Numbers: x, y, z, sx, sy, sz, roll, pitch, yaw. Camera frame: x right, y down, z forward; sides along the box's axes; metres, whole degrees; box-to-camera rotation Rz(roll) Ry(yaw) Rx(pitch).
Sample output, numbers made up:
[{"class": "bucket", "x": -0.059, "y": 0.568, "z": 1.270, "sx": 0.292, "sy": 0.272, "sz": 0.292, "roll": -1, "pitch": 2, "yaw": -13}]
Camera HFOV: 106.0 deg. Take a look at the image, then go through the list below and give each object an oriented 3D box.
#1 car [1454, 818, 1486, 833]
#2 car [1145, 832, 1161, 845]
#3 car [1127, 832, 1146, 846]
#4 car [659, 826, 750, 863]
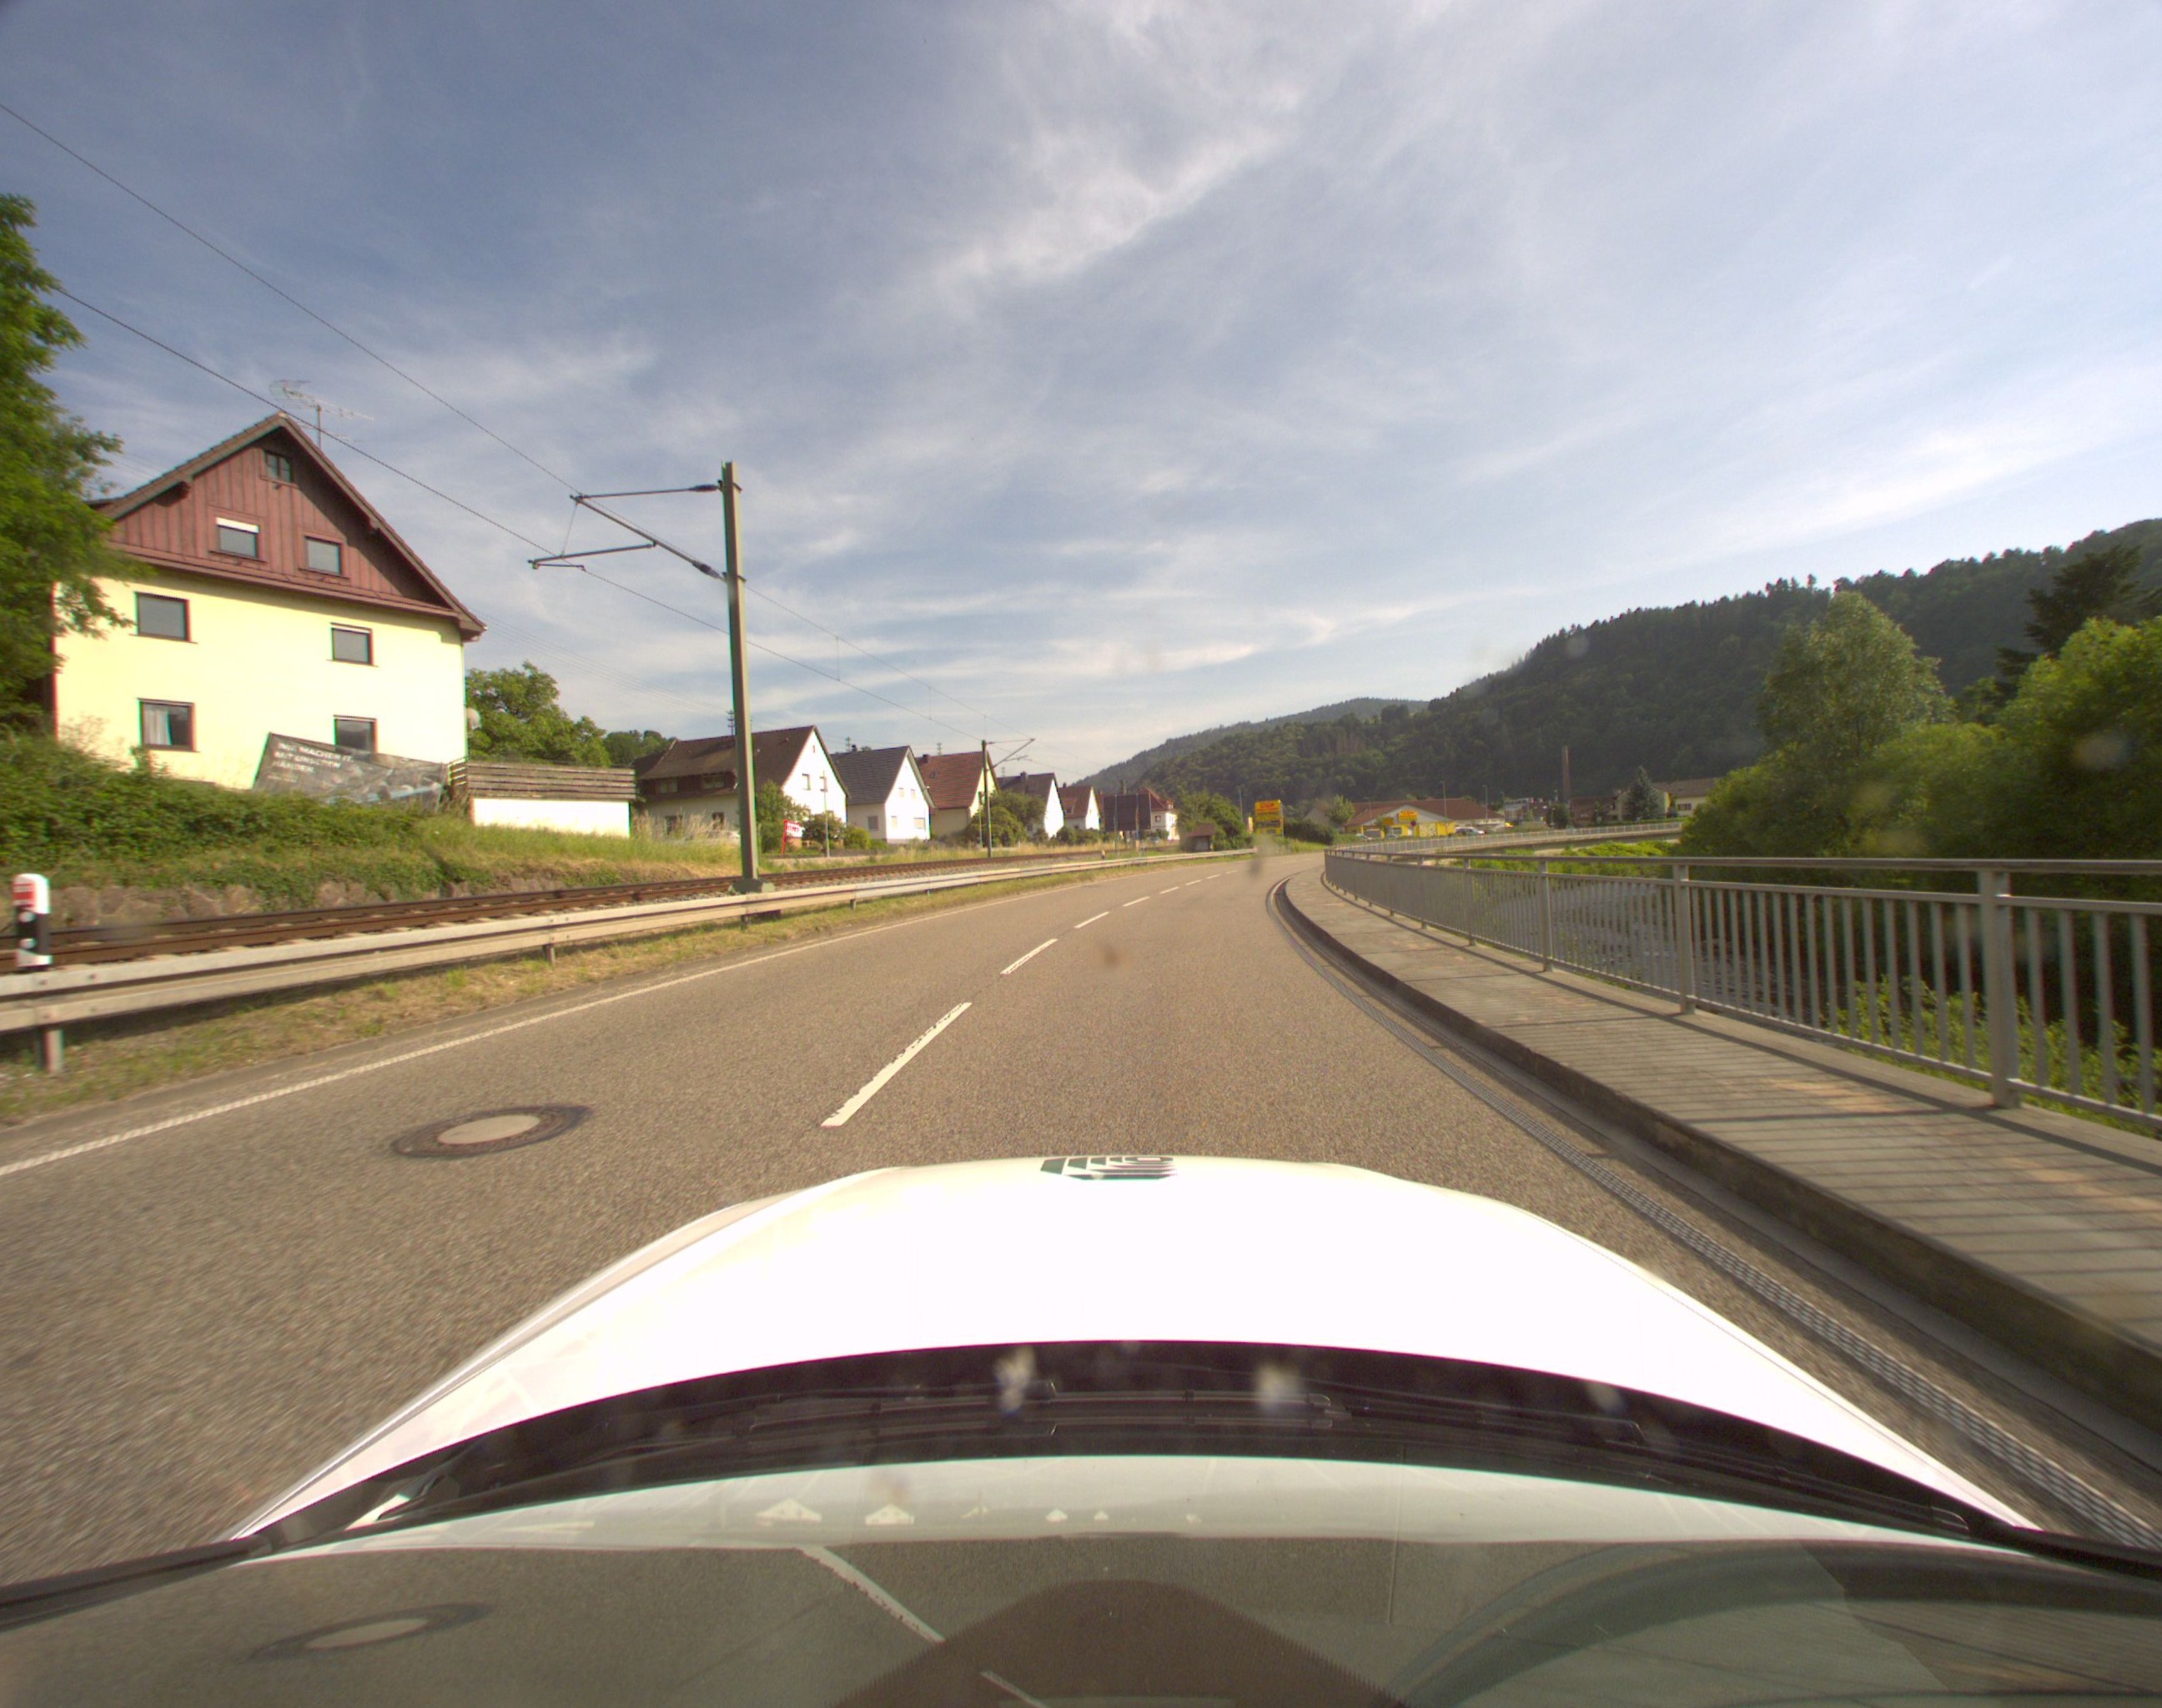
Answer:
[{"class": "car", "x": 59.833, "y": -4.319, "z": 125.273, "sx": 2.010, "sy": 2.014, "sz": 3.953, "roll": 3, "pitch": -3, "yaw": -40}, {"class": "car", "x": 11.931, "y": -2.558, "z": 134.515, "sx": 1.980, "sy": 1.881, "sz": 4.015, "roll": 4, "pitch": 1, "yaw": 14}, {"class": "car", "x": 8.266, "y": -2.276, "z": 121.246, "sx": 1.980, "sy": 1.881, "sz": 4.015, "roll": 4, "pitch": 1, "yaw": 14}, {"class": "car", "x": -18.922, "y": -0.508, "z": 41.075, "sx": 4.031, "sy": 1.674, "sz": 1.637, "roll": -2, "pitch": 4, "yaw": -24}]
